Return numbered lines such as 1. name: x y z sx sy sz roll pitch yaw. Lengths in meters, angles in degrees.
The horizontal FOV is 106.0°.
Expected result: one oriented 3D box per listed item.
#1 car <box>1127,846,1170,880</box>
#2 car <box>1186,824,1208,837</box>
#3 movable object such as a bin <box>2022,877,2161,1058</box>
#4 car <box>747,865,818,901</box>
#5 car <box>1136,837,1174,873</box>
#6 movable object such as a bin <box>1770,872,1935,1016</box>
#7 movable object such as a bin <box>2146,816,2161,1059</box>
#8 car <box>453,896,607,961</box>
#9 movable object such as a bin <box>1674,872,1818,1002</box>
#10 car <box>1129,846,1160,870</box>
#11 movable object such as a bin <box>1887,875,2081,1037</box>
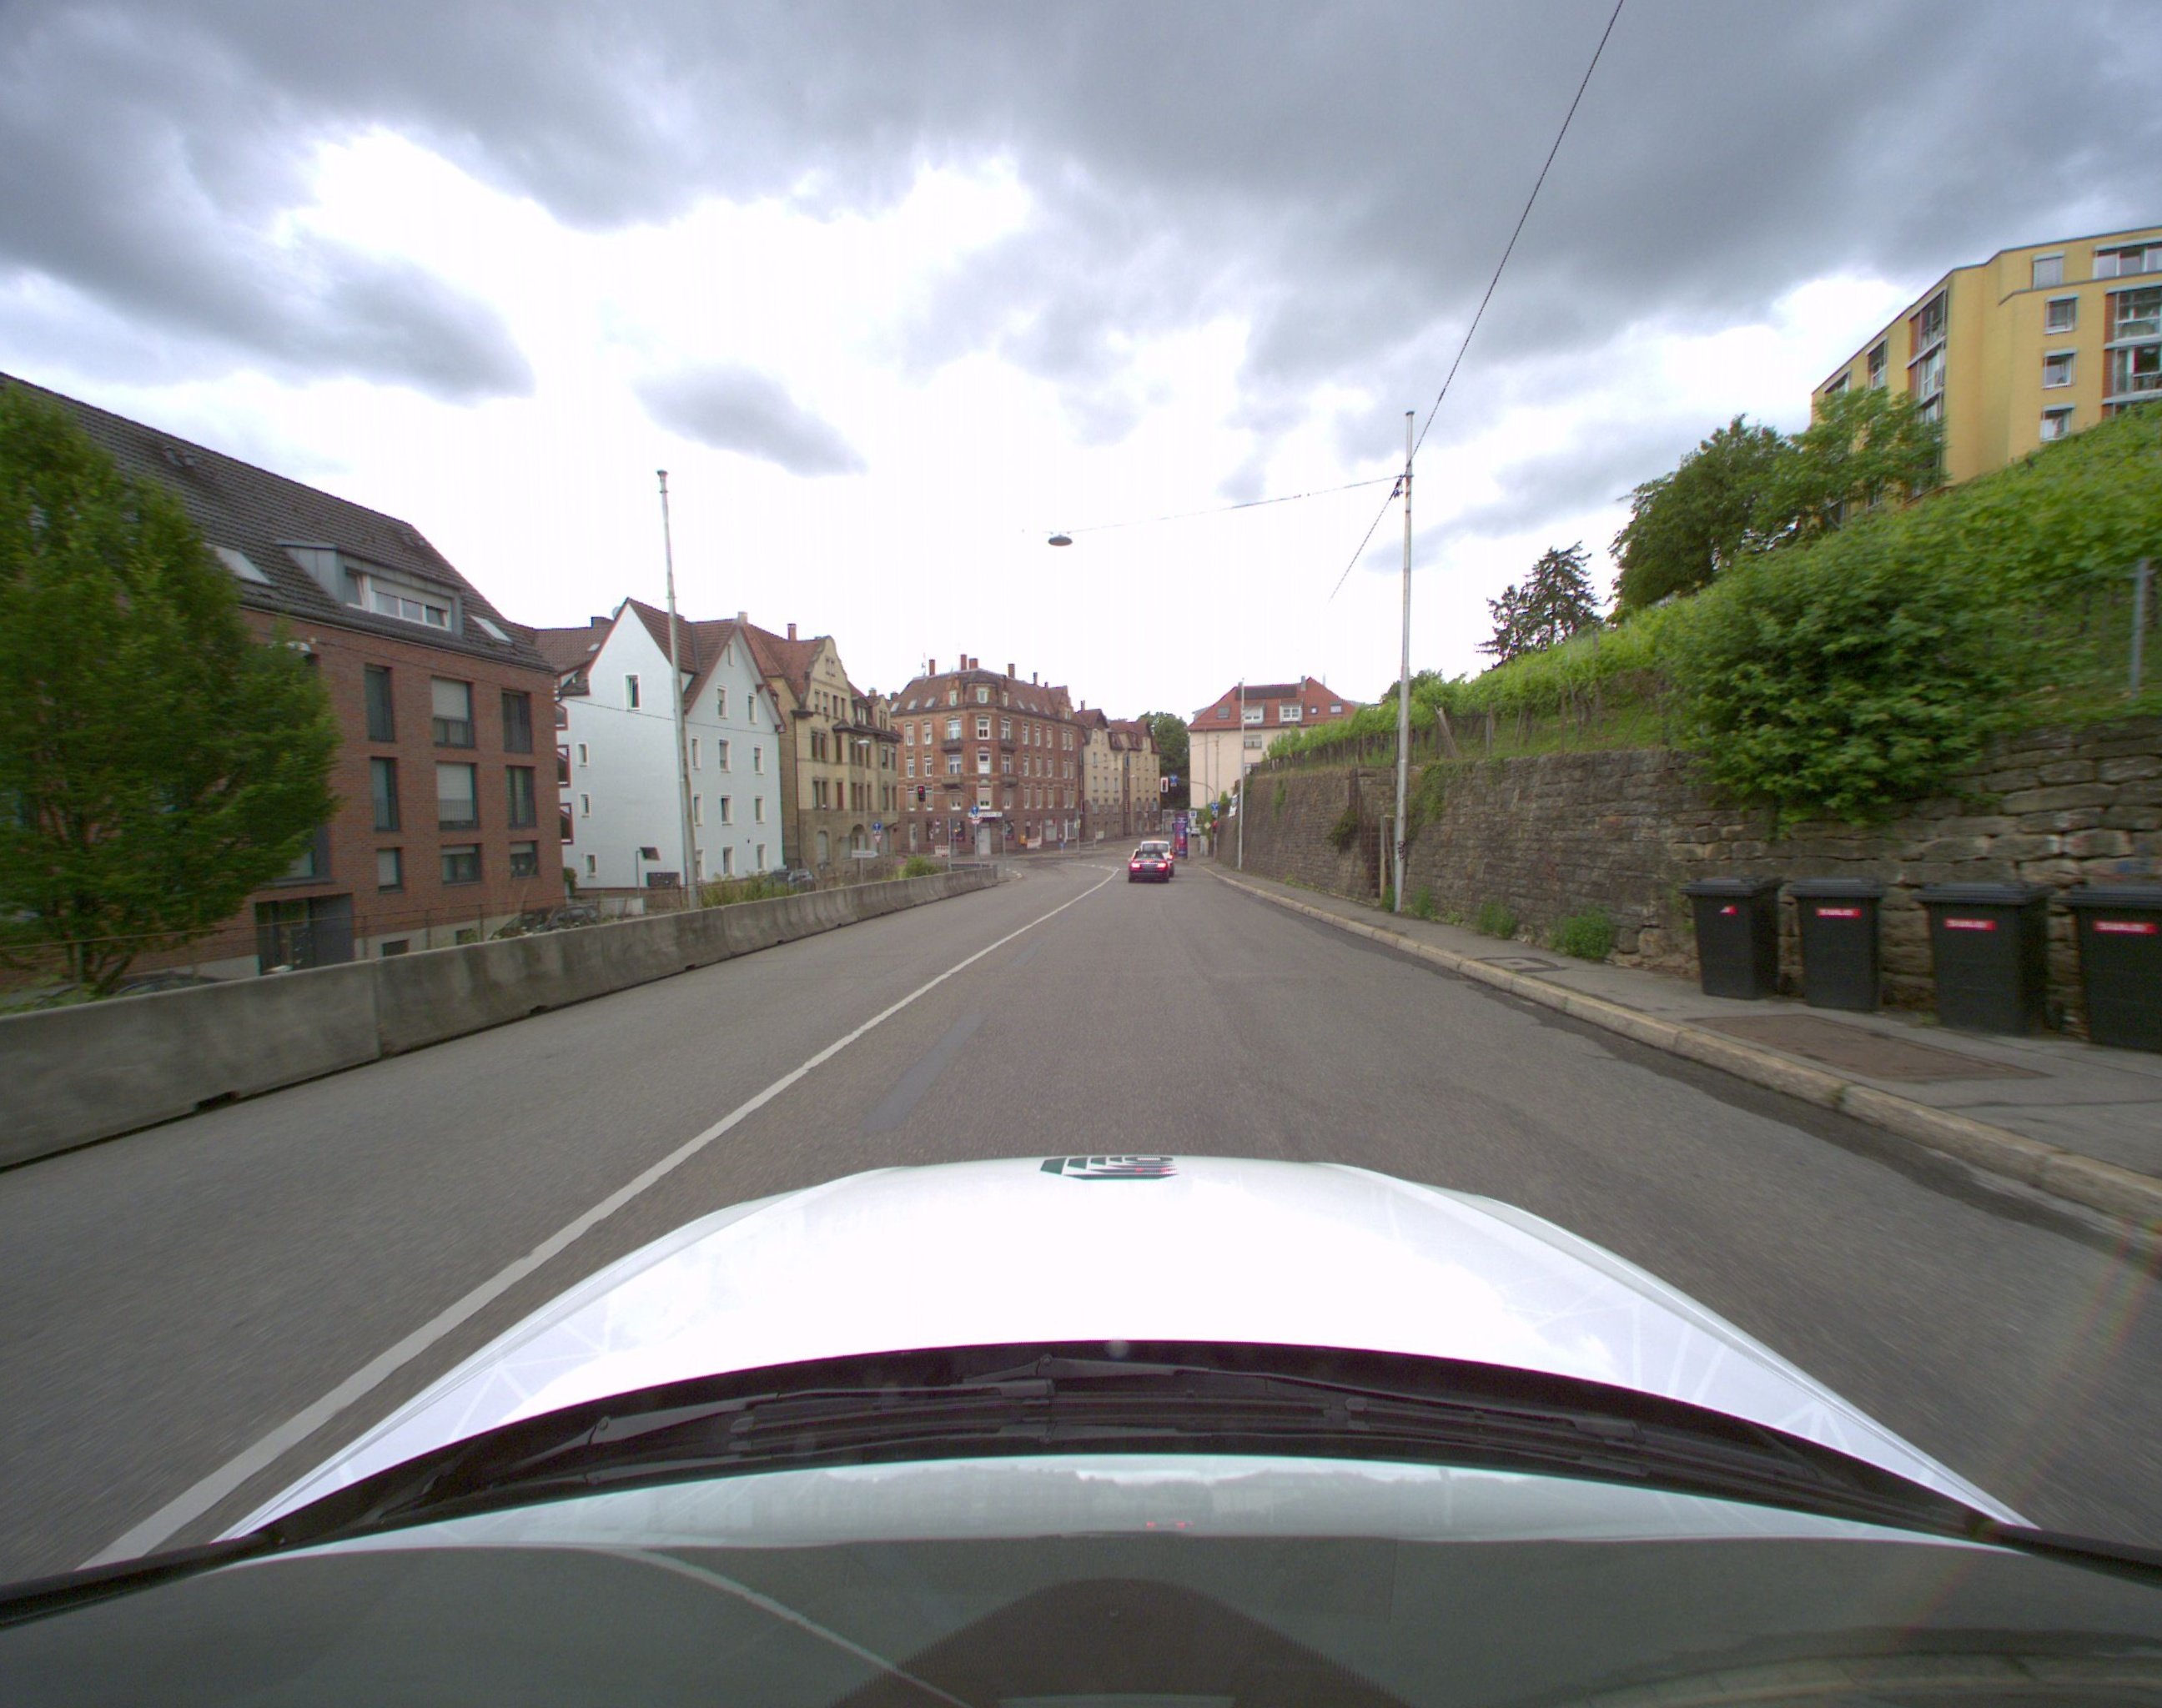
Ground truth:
1. car: 3.036 0.359 36.800 1.808 1.430 4.005 0 1 4
2. car: 16.158 -3.235 112.871 1.824 1.702 4.024 0 2 26
3. movable object such as a bin: 6.731 0.698 5.289 0.710 1.058 0.544 -1 0 -15
4. car: -15.745 1.503 43.136 1.784 1.510 4.010 -2 2 8
5. car: 3.959 0.034 43.807 1.900 1.884 4.005 0 0 4
6. movable object such as a bin: 6.250 0.694 6.618 0.743 1.058 0.676 -1 0 -15
7. movable object such as a bin: 7.105 0.483 4.356 1.049 1.444 1.411 -1 0 -15
8. car: -18.160 2.403 27.102 1.784 1.608 4.224 -3 1 8
9. movable object such as a bin: 5.905 0.706 7.252 0.743 1.058 0.676 -1 0 -15
10. car: 3.957 0.203 50.635 1.833 1.441 4.005 0 0 4
11. movable object such as a bin: 6.539 0.698 5.921 0.743 1.058 0.676 -1 0 -15
